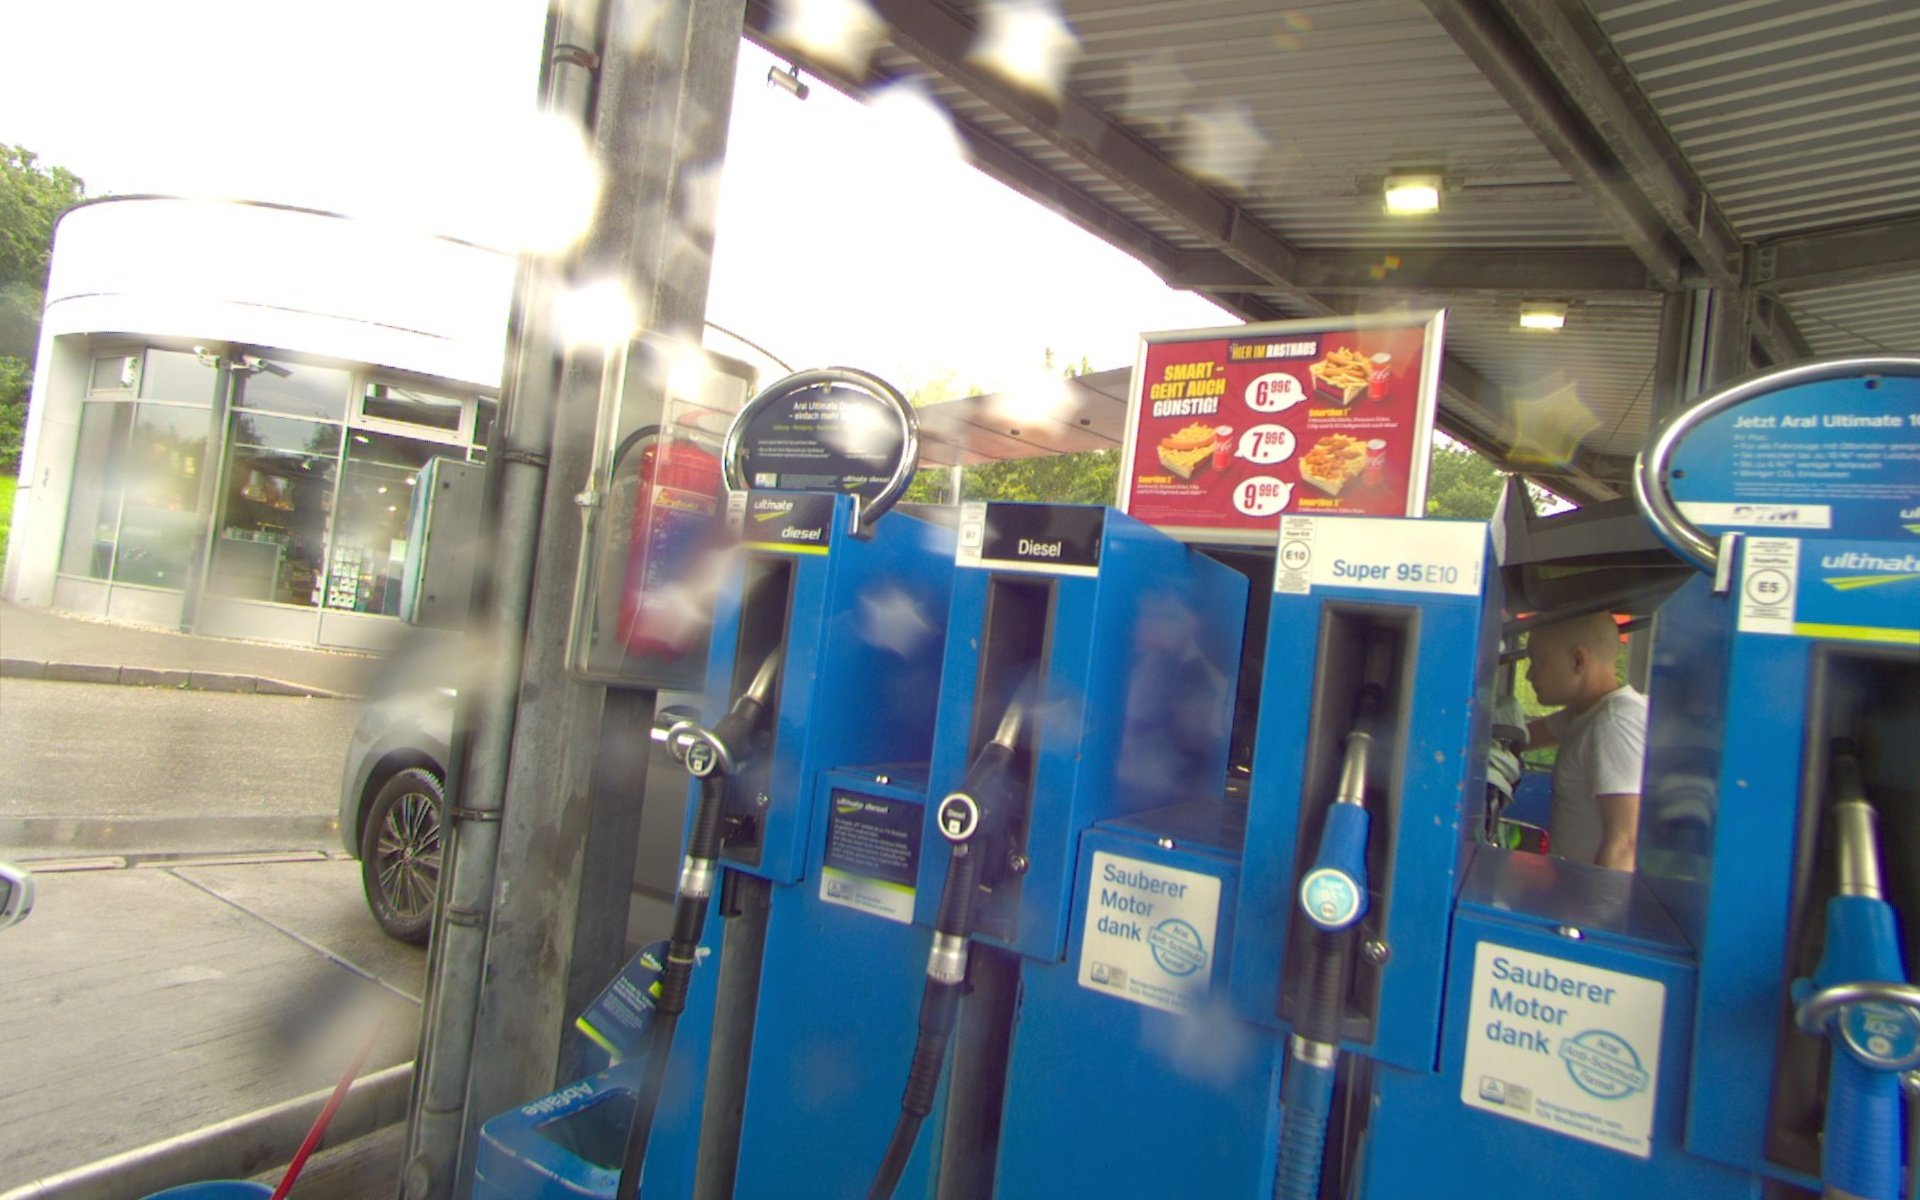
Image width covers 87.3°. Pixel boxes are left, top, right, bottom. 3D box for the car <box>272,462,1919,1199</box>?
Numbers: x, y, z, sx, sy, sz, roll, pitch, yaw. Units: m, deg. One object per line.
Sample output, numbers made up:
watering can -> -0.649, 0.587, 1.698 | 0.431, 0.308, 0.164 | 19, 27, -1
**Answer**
car -> -0.157, 0.646, 3.679 | 5.055, 1.819, 1.865 | 6, -2, 32
